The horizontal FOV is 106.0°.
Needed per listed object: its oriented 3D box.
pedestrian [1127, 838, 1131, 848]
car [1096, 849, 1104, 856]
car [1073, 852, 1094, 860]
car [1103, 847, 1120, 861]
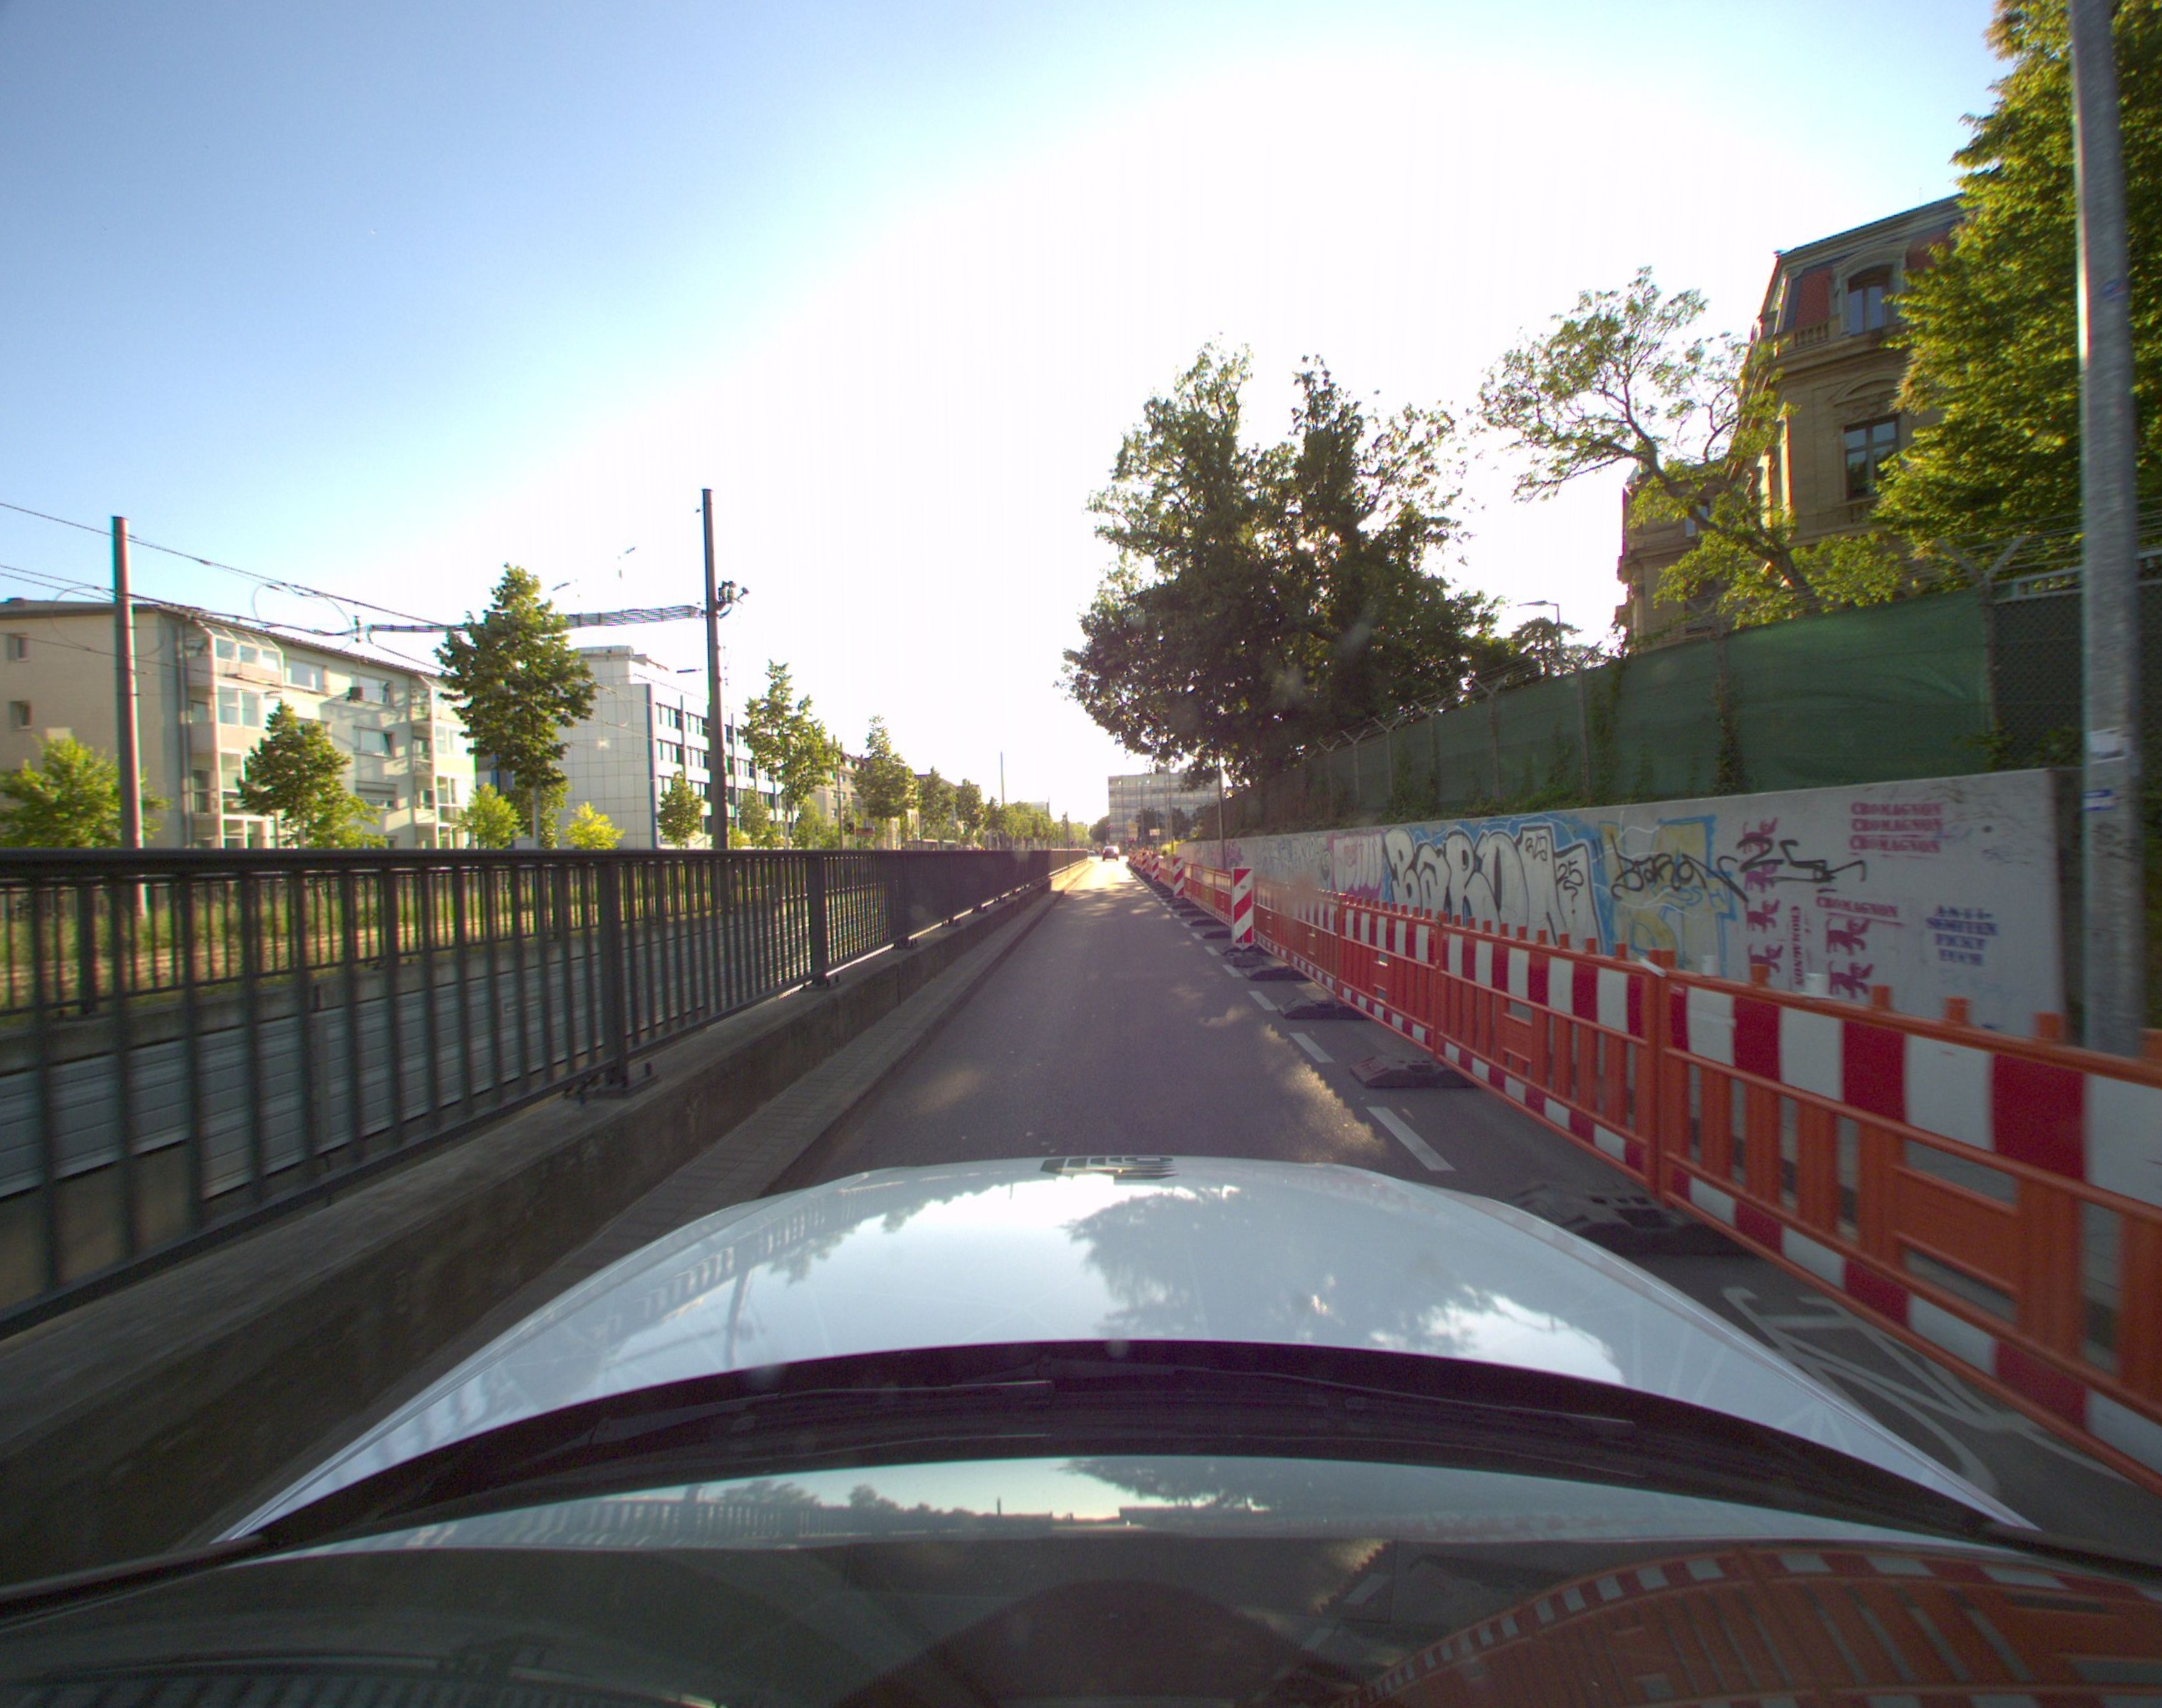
[{"bbox_3d":[11.048,-2.529,187.793,0.887,2.112,0.719,-2,1,6],"label":"pedestrian"},{"bbox_3d":[4.643,-0.400,199.207,1.987,1.618,4.000,-2,0,1],"label":"car"},{"bbox_3d":[0.549,0.452,171.631,3.961,1.640,2.006,-1,-1,11],"label":"car"},{"bbox_3d":[3.791,0.000,100.190,1.997,1.659,4.003,0,0,3],"label":"car"}]
